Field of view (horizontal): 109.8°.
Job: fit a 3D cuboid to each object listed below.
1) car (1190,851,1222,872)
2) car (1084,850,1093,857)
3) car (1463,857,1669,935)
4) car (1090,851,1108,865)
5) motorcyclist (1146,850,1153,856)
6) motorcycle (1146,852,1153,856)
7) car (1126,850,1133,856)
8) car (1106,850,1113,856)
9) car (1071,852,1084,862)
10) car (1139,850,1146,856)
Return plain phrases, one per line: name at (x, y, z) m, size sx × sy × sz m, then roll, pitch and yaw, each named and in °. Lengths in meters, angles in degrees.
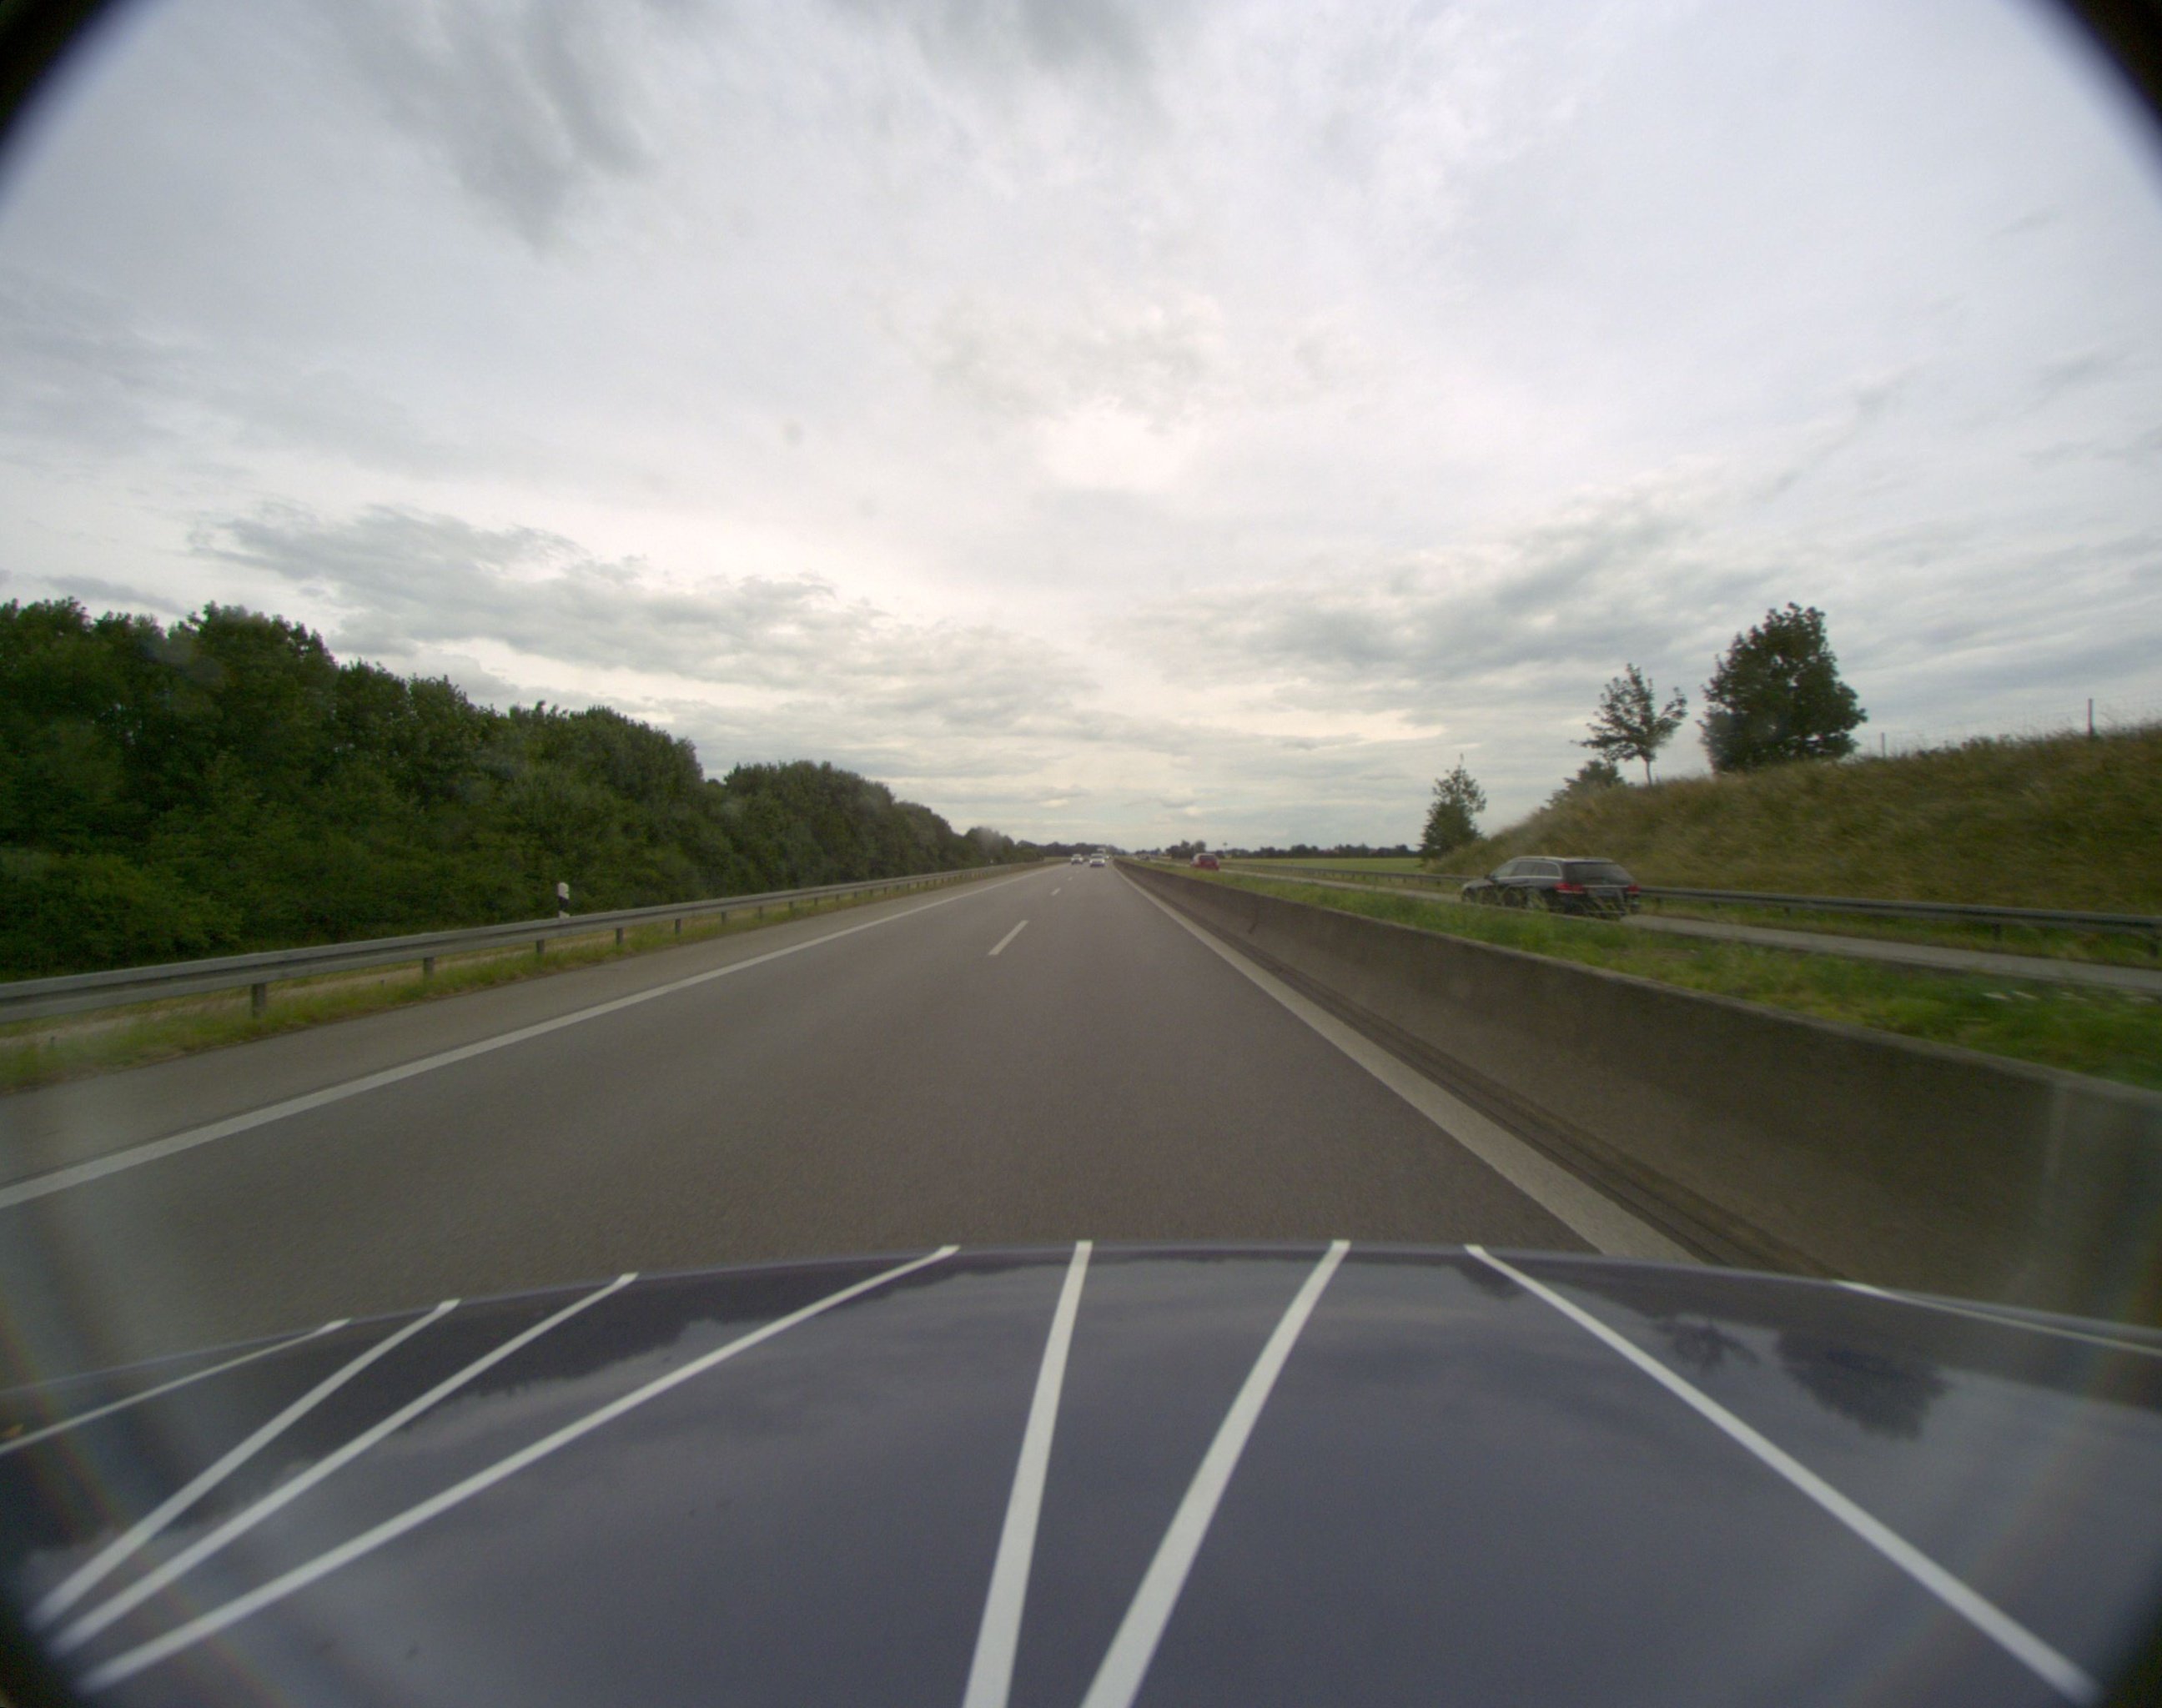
car at (9.880, 0.582, 60.201) m, size 1.850 × 1.562 × 4.361 m, roll 1°, pitch 0°, yaw 1°
car at (1.660, -0.143, 175.192) m, size 1.915 × 1.553 × 4.288 m, roll -1°, pitch 1°, yaw 3°
car at (10.916, 0.859, 17.582) m, size 1.850 × 1.488 × 4.580 m, roll 2°, pitch 0°, yaw 1°
car at (2.177, 0.486, 93.049) m, size 1.916 × 1.553 × 4.287 m, roll -1°, pitch 1°, yaw -2°
motorcyclist at (17.505, -0.262, 194.429) m, size 1.570 × 1.363 × 1.252 m, roll 1°, pitch 1°, yaw 2°
motorcycle at (17.500, 0.044, 194.453) m, size 1.570 × 1.072 × 2.982 m, roll 1°, pitch 1°, yaw 2°
car at (14.164, -0.345, 220.835) m, size 1.870 × 1.565 × 4.693 m, roll 0°, pitch 0°, yaw 1°
car at (8.155, -0.319, 217.580) m, size 1.915 × 1.553 × 4.288 m, roll -1°, pitch 1°, yaw 3°
car at (-0.572, 0.520, 127.166) m, size 1.915 × 1.553 × 4.288 m, roll -1°, pitch 1°, yaw 3°
car at (18.201, -0.361, 223.803) m, size 1.840 × 1.617 × 4.691 m, roll 1°, pitch 1°, yaw 2°
